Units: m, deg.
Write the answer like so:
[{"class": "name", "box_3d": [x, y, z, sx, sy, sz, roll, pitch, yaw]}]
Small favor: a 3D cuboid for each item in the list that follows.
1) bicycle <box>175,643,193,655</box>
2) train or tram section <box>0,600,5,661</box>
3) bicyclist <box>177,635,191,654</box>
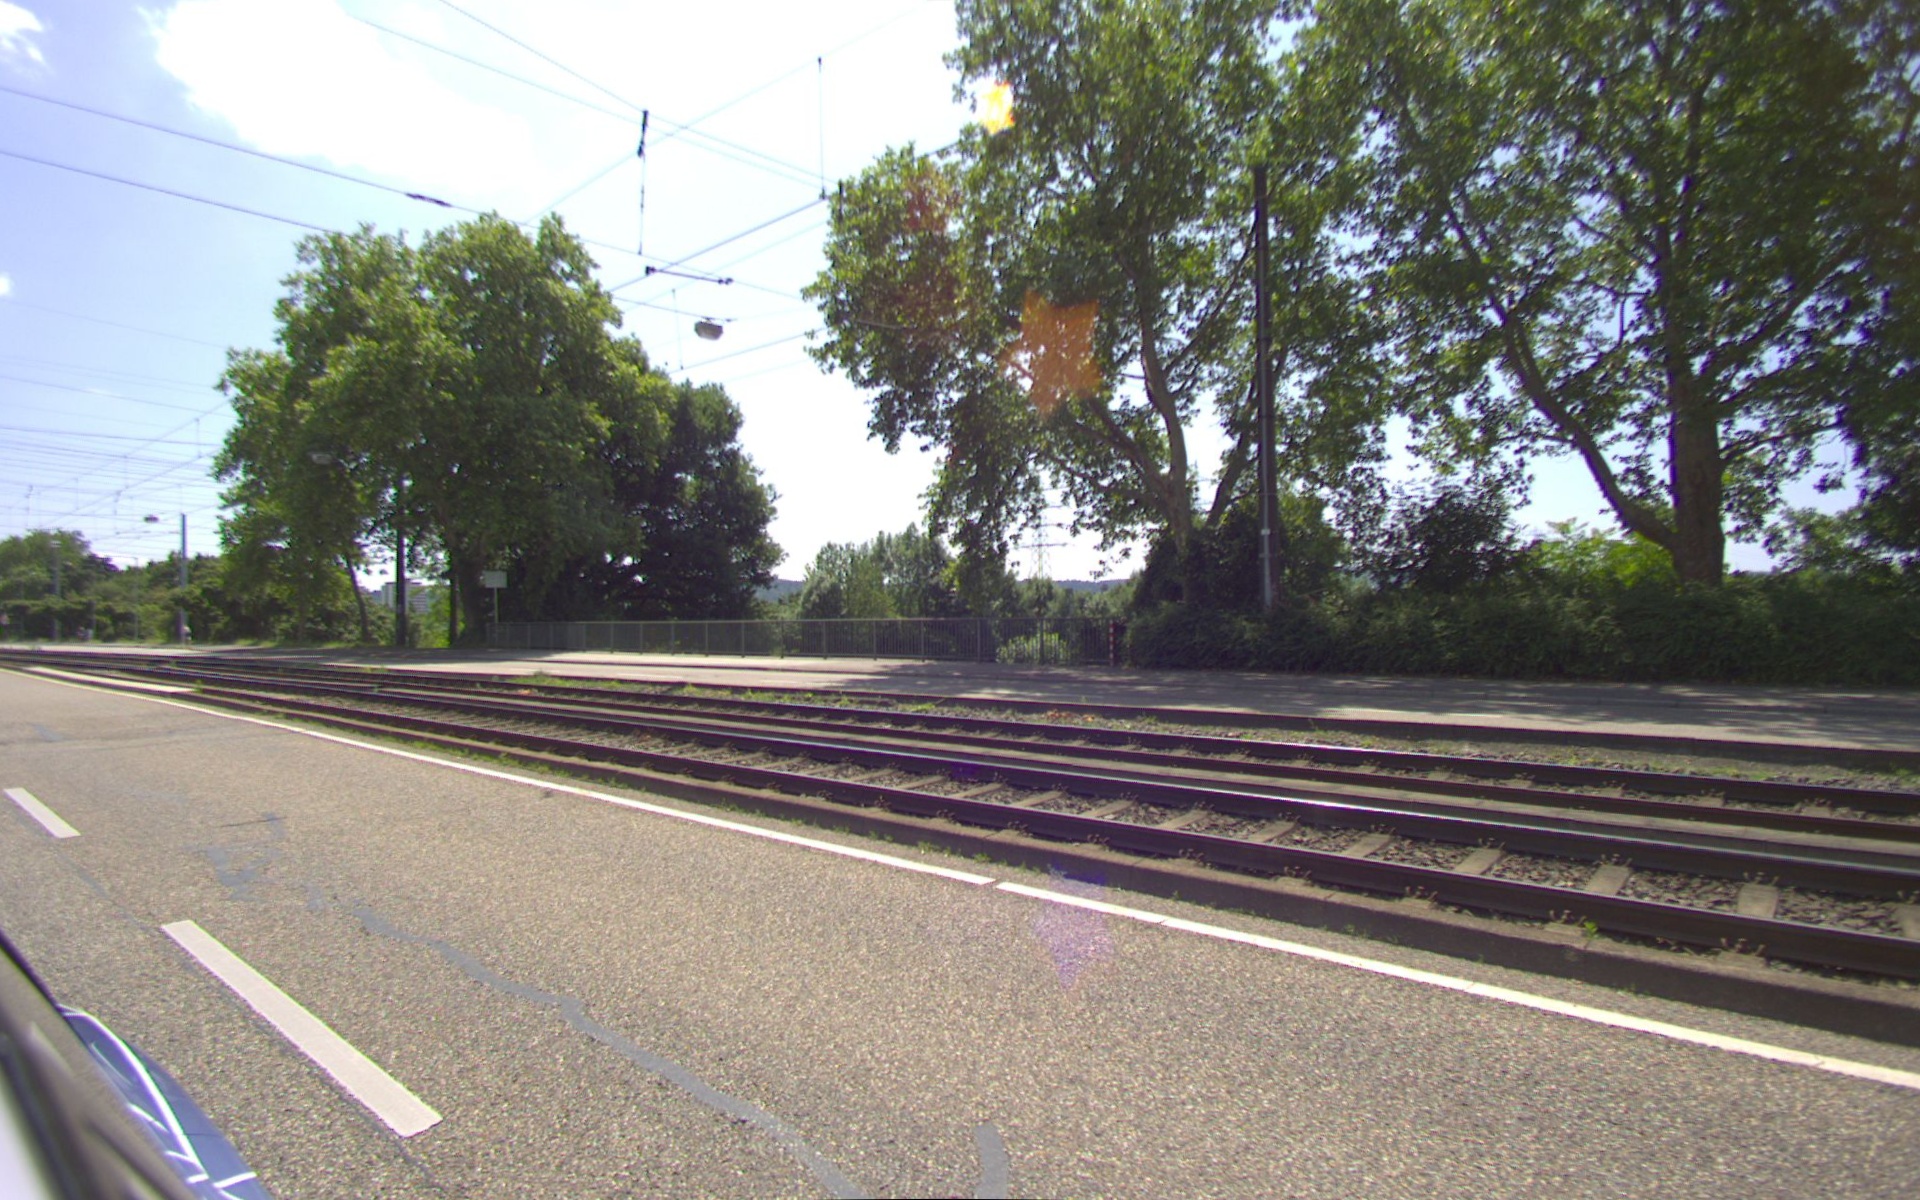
[{"class": "bicycle", "box_3d": [-61.133, 3.836, 79.728, 2.181, 0.924, 0.703, -2, -1, 40]}, {"class": "train or tram section", "box_3d": [-72.258, 2.260, 72.961, 13.964, 4.172, 3.008, -2, -2, 39]}, {"class": "bicyclist", "box_3d": [-61.014, 3.487, 79.593, 0.918, 1.495, 0.704, -2, -1, 40]}]
